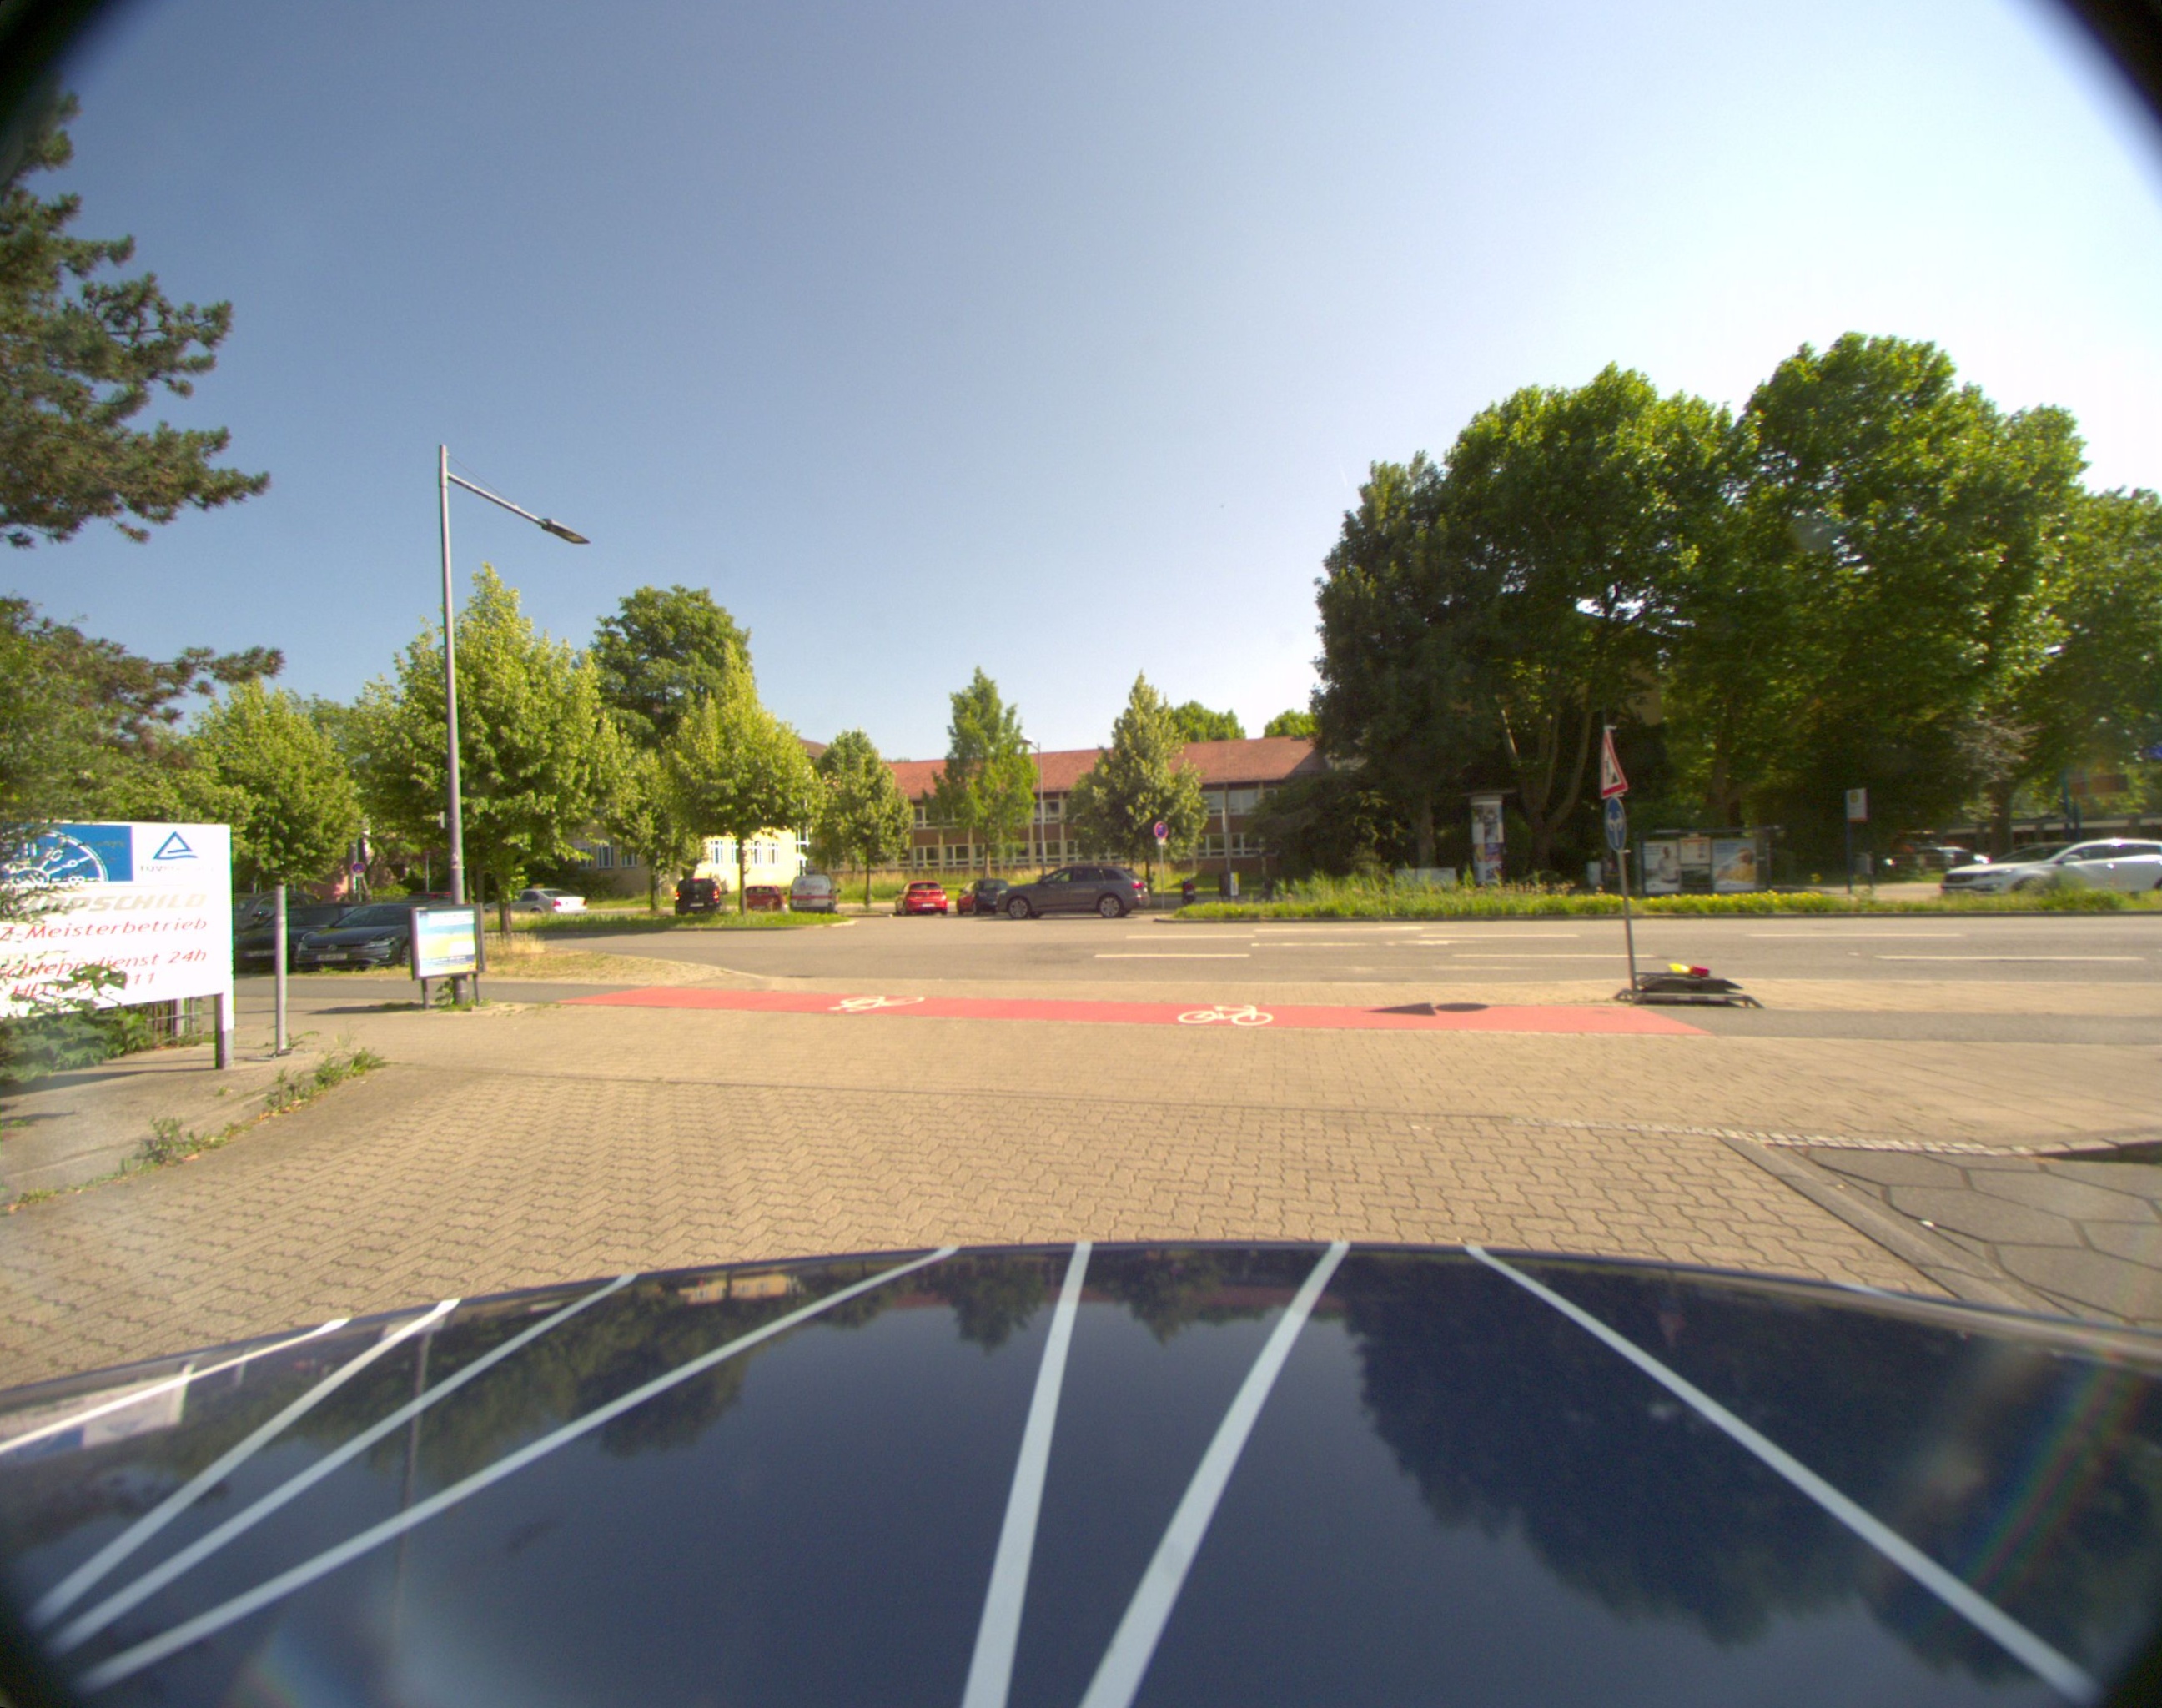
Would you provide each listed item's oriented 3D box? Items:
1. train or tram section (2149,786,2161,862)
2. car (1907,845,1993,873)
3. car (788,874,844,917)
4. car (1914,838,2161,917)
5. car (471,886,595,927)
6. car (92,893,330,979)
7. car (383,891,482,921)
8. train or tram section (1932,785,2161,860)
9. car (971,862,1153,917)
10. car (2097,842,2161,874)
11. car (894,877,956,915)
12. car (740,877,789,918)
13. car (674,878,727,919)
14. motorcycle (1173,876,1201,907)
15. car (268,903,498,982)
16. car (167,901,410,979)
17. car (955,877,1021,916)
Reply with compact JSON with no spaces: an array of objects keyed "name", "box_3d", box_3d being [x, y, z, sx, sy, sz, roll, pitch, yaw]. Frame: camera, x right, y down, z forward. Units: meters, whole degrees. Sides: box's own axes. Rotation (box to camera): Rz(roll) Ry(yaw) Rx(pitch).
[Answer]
[{"name":"train or tram section","box_3d":[63.592,-1.873,38.213,2.324,4.463,14.963,-1,-1,14]},{"name":"car","box_3d":[57.487,0.397,50.381,1.865,1.678,4.007,-2,-3,16]},{"name":"car","box_3d":[-11.484,1.783,33.169,1.882,1.711,4.222,0,-2,-14]},{"name":"car","box_3d":[24.251,0.575,18.866,4.382,1.758,2.002,-2,0,16]},{"name":"car","box_3d":[-22.183,2.106,30.801,4.152,1.475,1.742,-2,0,14]},{"name":"car","box_3d":[-20.665,1.855,18.374,1.706,1.709,4.398,-1,-2,-17]},{"name":"car","box_3d":[-32.676,2.581,38.428,1.880,1.382,3.727,-1,-3,-3]},{"name":"train or tram section","box_3d":[67.354,-1.828,52.848,2.324,4.463,15.946,-1,-1,14]},{"name":"car","box_3d":[-0.614,1.204,25.135,5.648,1.601,2.003,-2,-3,14]},{"name":"car","box_3d":[53.312,0.196,37.265,1.866,1.503,4.005,-1,-3,9]},{"name":"car","box_3d":[-6.620,1.731,31.939,1.883,1.450,4.220,0,-2,-21]},{"name":"car","box_3d":[-14.113,1.921,33.810,1.884,1.711,4.219,0,-3,-24]},{"name":"car","box_3d":[-16.871,1.966,33.868,1.884,1.711,4.219,0,-3,-24]},{"name":"motorcycle","box_3d":[4.023,1.400,28.837,0.557,1.107,1.758,-2,-1,-8]},{"name":"car","box_3d":[-15.369,1.878,17.108,1.882,1.408,4.223,-1,-2,-11]},{"name":"car","box_3d":[-18.369,1.913,17.957,1.882,1.472,4.223,-1,-2,-11]},{"name":"car","box_3d":[-3.913,1.719,31.296,1.743,1.450,4.220,-1,-2,-21]}]
